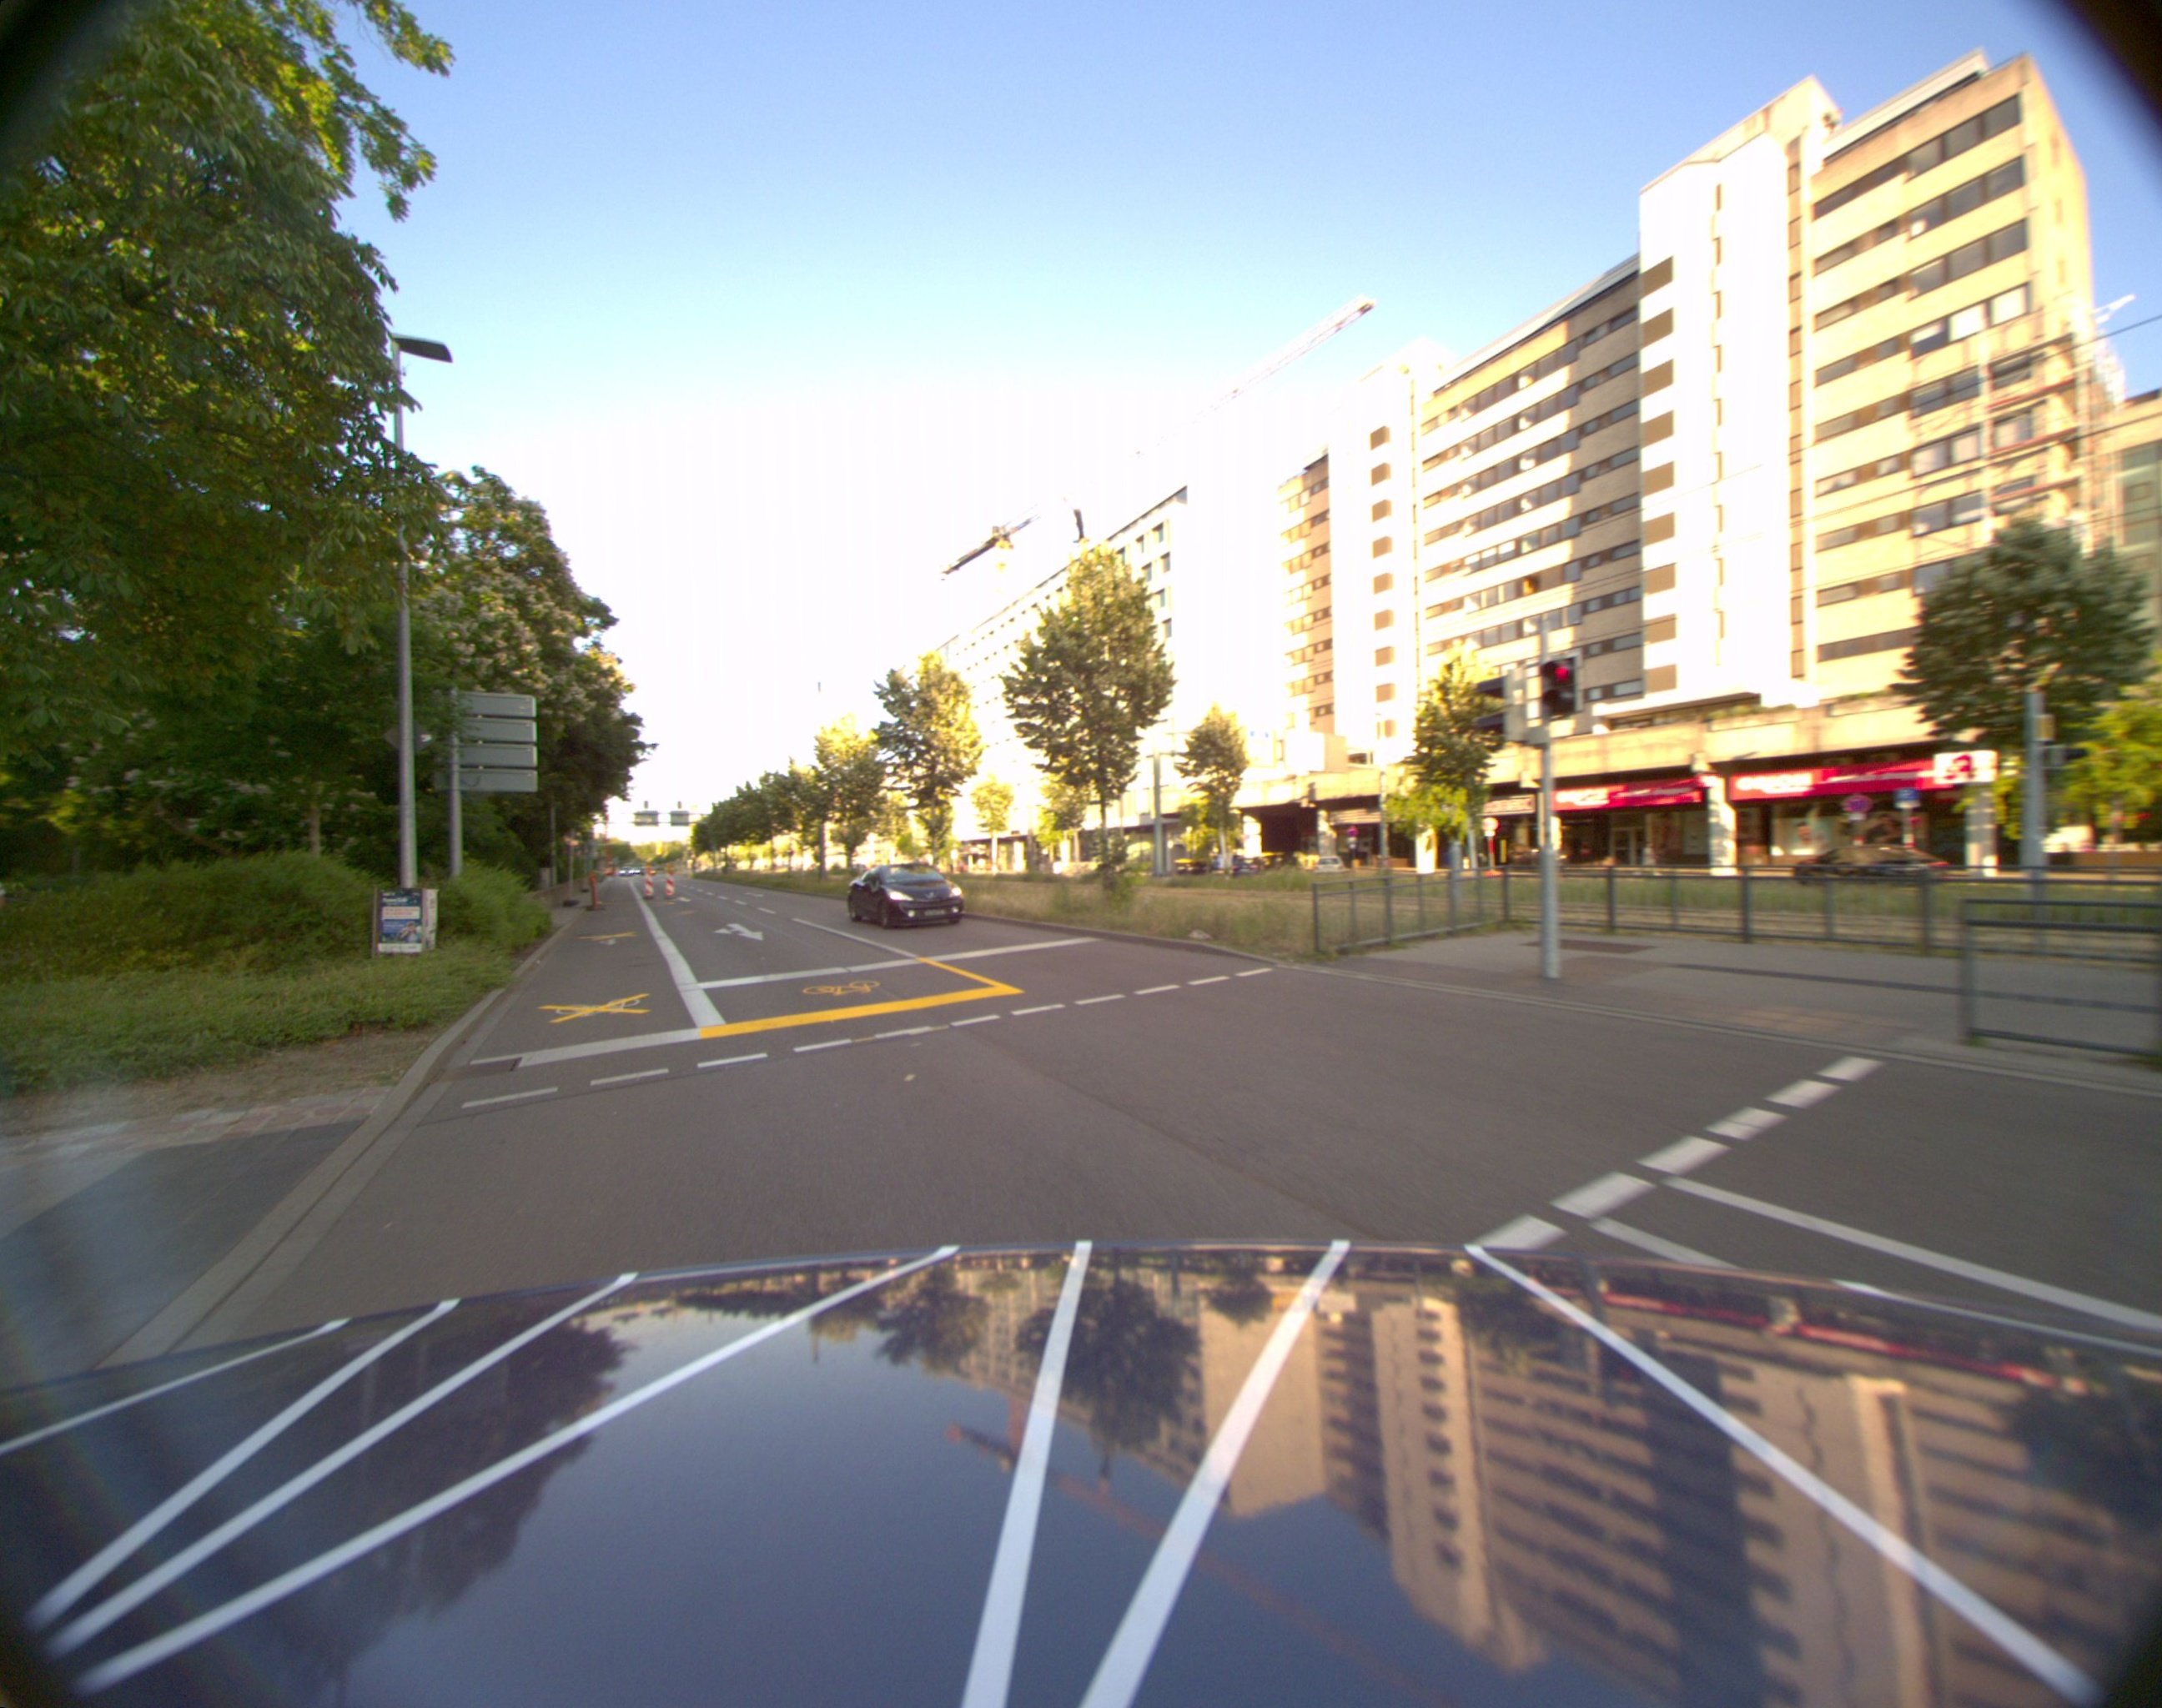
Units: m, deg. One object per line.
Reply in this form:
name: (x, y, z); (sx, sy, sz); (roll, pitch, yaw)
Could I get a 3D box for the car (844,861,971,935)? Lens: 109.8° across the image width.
car: (-4.039, 0.912, 17.245); (1.727, 1.441, 3.892); (-1, 0, -30)

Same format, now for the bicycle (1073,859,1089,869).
bicycle: (-0.021, 1.043, 79.467); (1.751, 1.014, 0.420); (-1, 0, -34)

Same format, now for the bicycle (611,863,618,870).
bicycle: (-76.897, 2.021, 125.251); (0.722, 1.046, 2.039); (-4, 3, -25)

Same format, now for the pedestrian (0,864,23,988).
pedestrian: (-16.431, 1.073, 11.200); (0.796, 1.822, 0.771); (-2, 1, -44)

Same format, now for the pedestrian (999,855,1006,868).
pedestrian: (-9.398, 0.919, 90.840); (0.499, 1.591, 0.602); (-4, 2, -29)

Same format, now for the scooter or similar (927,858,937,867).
scooter or similar: (-19.203, 1.099, 98.023); (1.187, 1.210, 0.337); (-2, 1, -30)

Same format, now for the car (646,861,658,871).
car: (-71.966, 2.047, 127.561); (1.706, 1.588, 4.250); (-2, 0, -29)

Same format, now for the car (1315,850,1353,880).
car: (14.436, 0.582, 43.181); (1.821, 1.427, 4.136); (-3, 1, 21)

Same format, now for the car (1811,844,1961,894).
car: (25.084, 0.428, 23.868); (1.740, 1.441, 3.735); (-1, 0, 20)

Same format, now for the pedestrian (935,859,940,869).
pedestrian: (-22.557, 1.595, 119.344); (0.607, 1.454, 0.771); (-1, 0, -31)

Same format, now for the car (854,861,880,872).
car: (-26.998, 1.568, 95.838); (2.025, 1.432, 4.790); (1, -1, -31)

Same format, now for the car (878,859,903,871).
car: (-24.344, 1.429, 97.194); (1.894, 1.431, 4.214); (-1, 0, -32)

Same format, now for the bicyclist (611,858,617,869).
bicyclist: (-76.890, 1.592, 125.145); (0.706, 1.692, 0.766); (-3, 4, -22)

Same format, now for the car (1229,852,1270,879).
car: (10.803, 0.708, 48.499); (2.005, 1.581, 4.291); (-1, 0, 20)

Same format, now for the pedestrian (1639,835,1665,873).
pedestrian: (25.491, -0.001, 33.909); (0.667, 1.652, 0.660); (-4, 2, -28)

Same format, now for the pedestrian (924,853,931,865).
pedestrian: (-21.503, 0.644, 106.625); (0.707, 1.595, 0.681); (-3, 2, 8)

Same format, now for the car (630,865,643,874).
car: (-75.505, 2.630, 129.098); (1.837, 1.588, 4.250); (-2, 0, -29)
